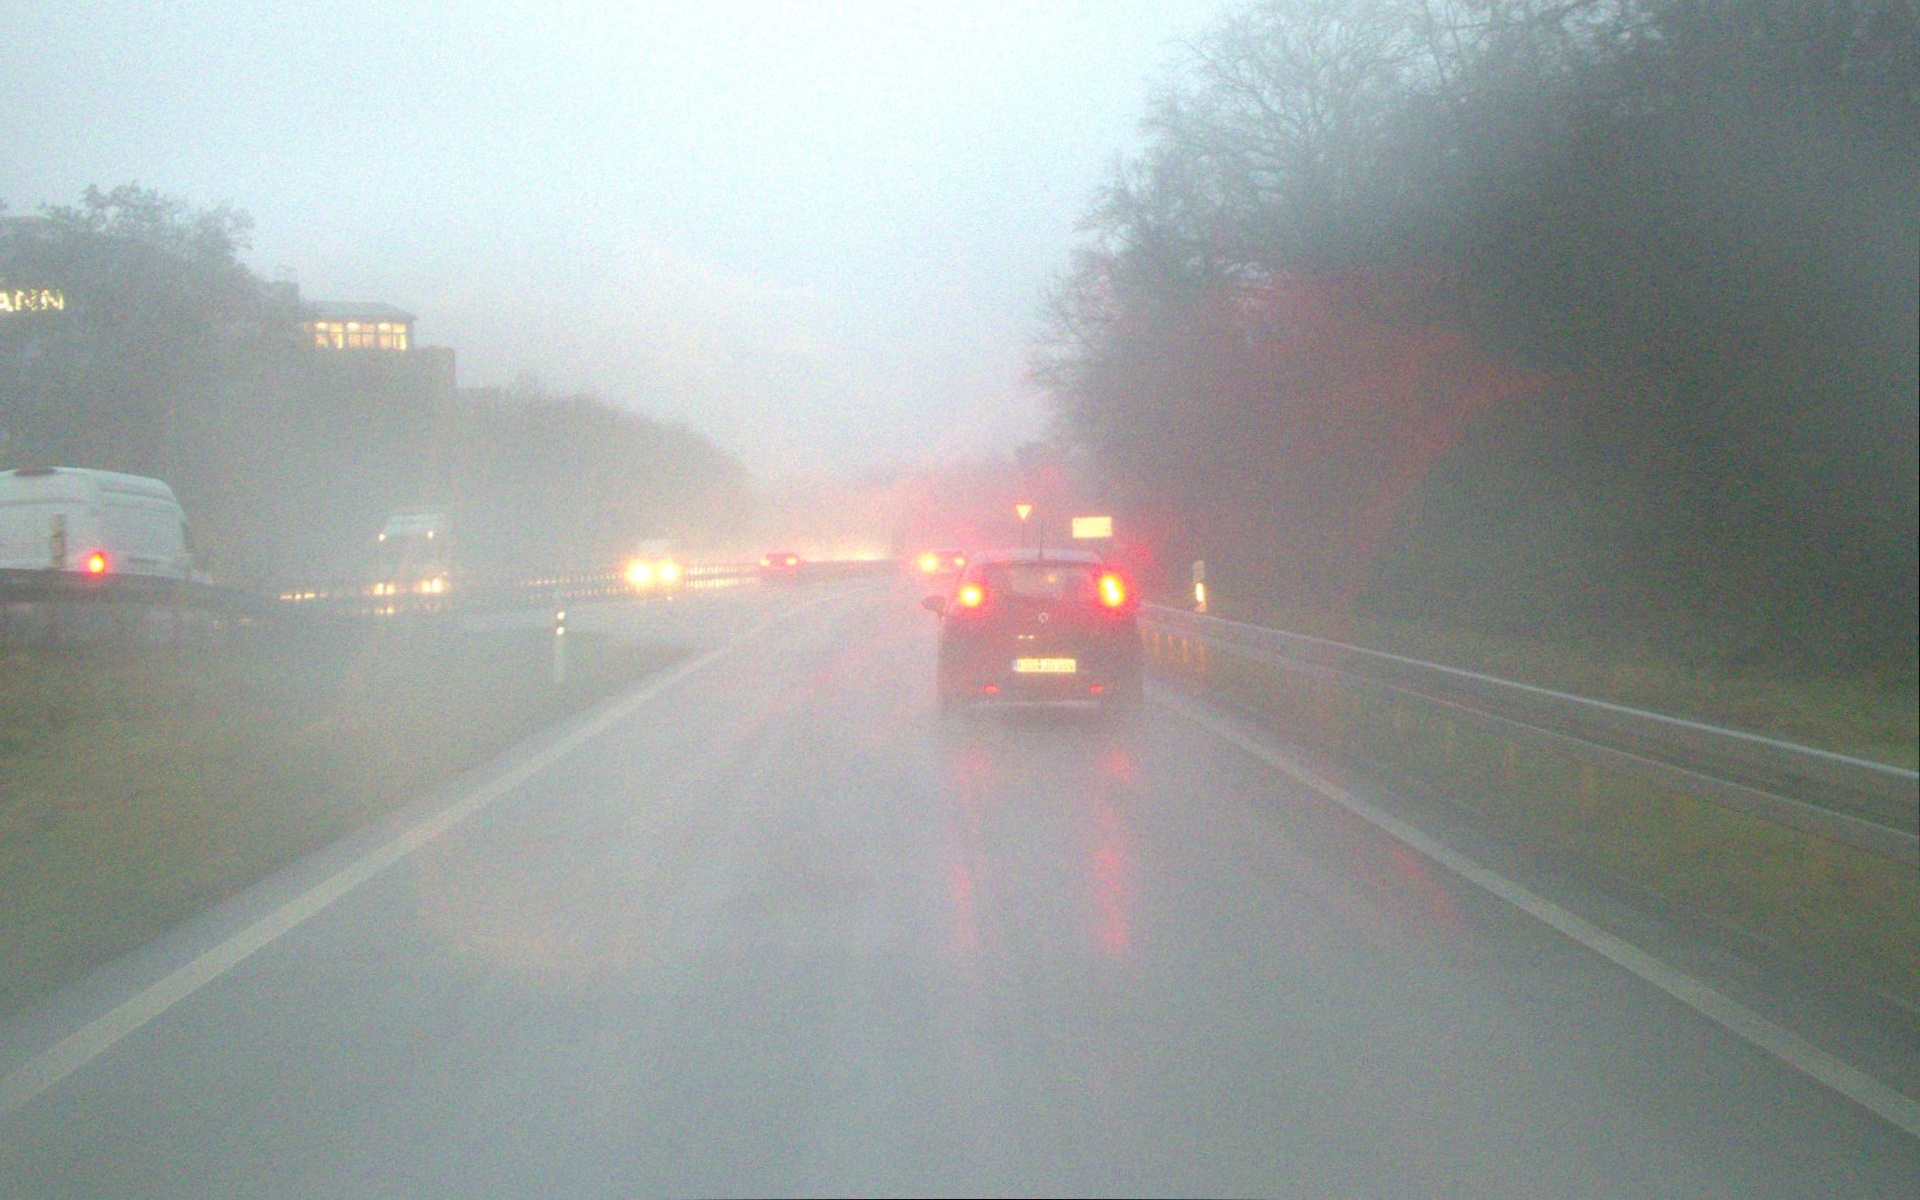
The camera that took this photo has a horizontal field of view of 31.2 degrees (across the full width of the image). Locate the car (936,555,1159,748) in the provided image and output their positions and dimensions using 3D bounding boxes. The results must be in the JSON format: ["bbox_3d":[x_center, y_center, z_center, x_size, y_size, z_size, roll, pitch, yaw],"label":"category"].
[{"bbox_3d":[0.747,0.400,30.344,1.732,1.424,3.765,5,1,1],"label":"car"}]

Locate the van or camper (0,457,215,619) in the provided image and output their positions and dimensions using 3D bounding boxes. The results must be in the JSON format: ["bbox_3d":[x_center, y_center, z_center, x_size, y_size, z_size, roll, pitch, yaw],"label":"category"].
[{"bbox_3d":[-13.587,-0.955,53.903,2.268,2.405,5.579,0,1,4],"label":"van or camper"}]
